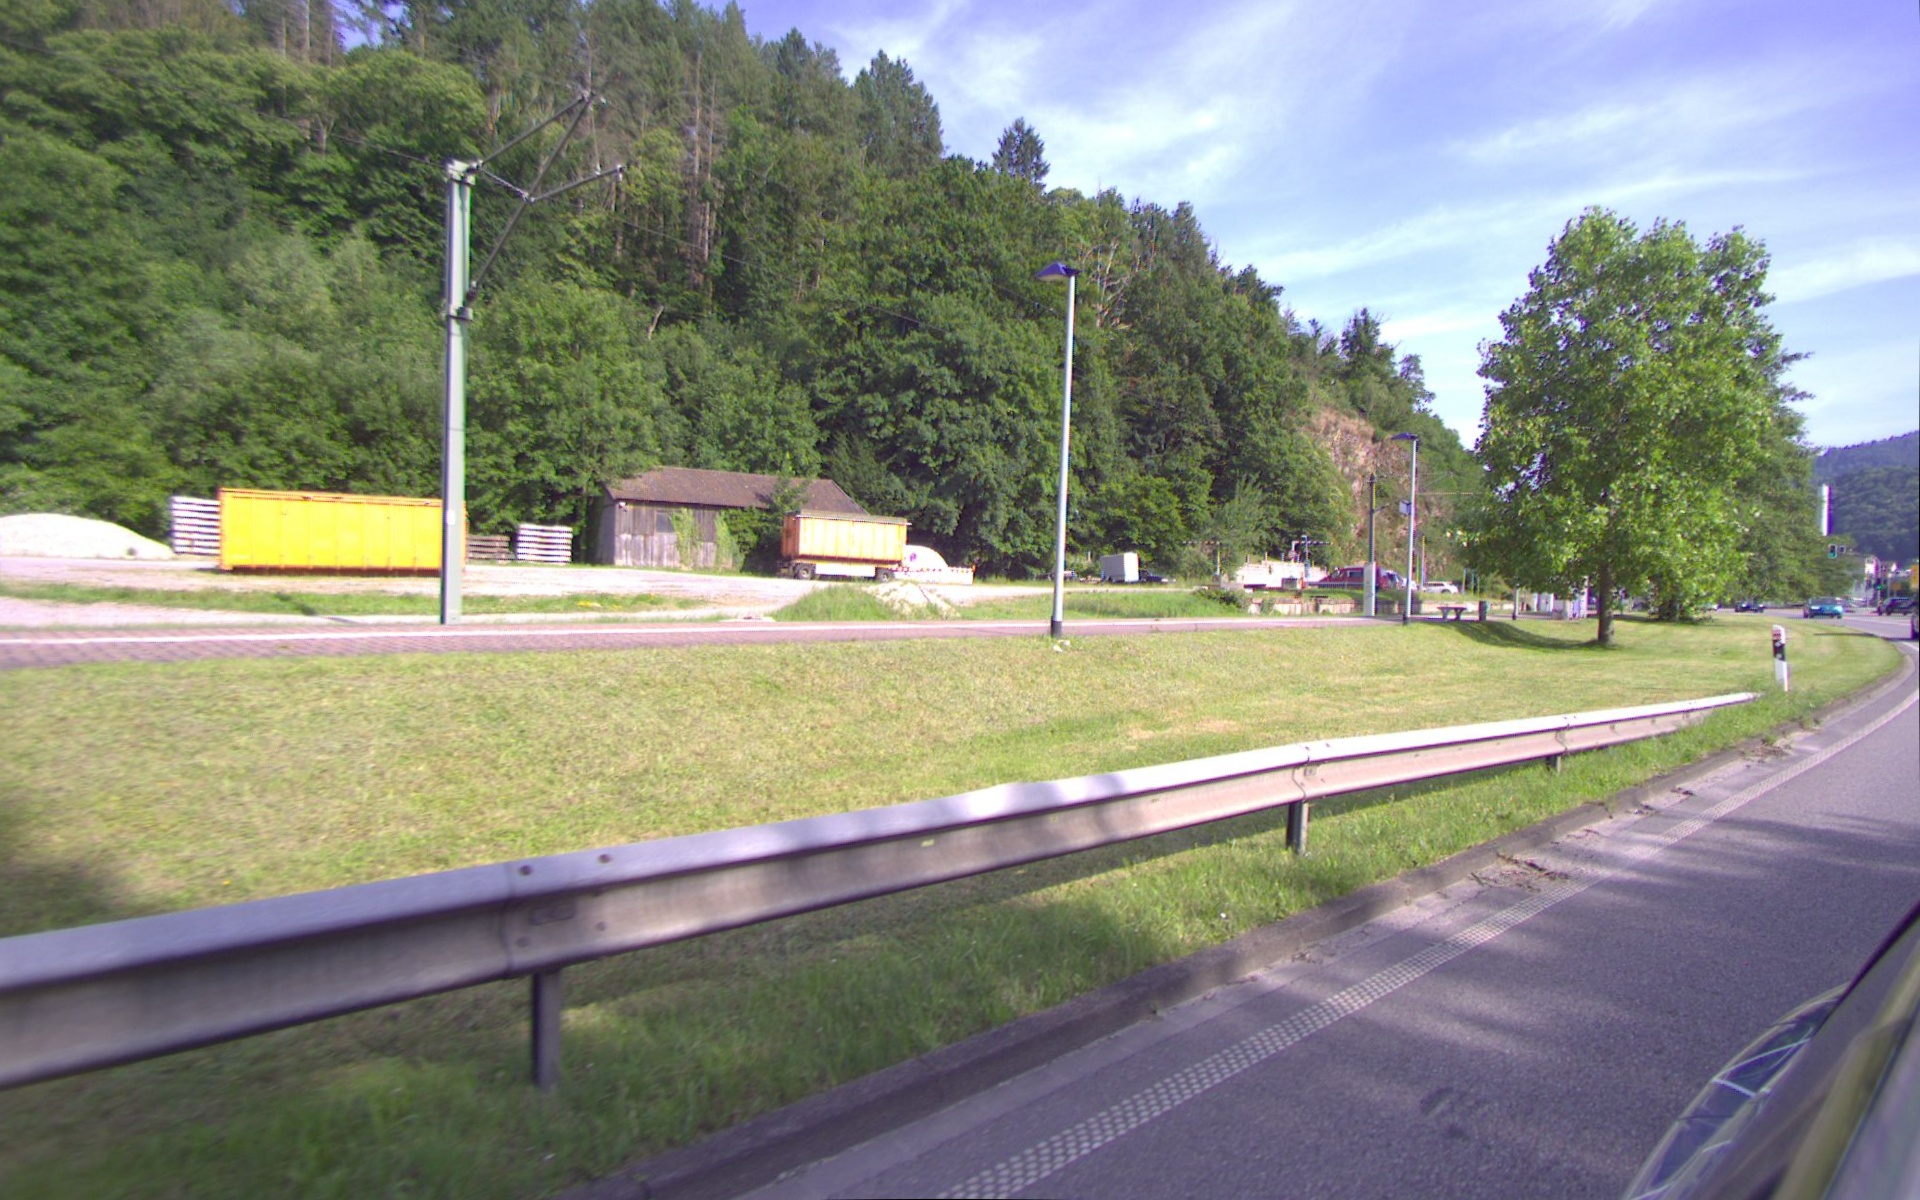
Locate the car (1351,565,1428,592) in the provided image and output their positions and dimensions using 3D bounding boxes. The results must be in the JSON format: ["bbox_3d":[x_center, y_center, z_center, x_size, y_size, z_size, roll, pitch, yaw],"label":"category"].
[{"bbox_3d":[32.109,-1.608,75.692,4.942,1.968,2.111,1,1,39],"label":"car"}]

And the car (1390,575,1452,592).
[{"bbox_3d":[37.594,-1.341,82.573,4.257,1.360,1.806,1,1,39],"label":"car"}]

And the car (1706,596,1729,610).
[{"bbox_3d":[89.857,0.355,120.146,1.864,1.478,3.686,3,2,33],"label":"car"}]

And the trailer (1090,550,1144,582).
[{"bbox_3d":[11.319,-2.469,73.145,1.783,2.216,3.707,0,2,-32],"label":"trailer"}]

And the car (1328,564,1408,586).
[{"bbox_3d":[28.976,-1.745,71.930,4.942,1.487,1.869,1,1,39],"label":"car"}]

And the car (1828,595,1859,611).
[{"bbox_3d":[88.256,0.287,101.152,1.668,1.478,4.154,0,0,32],"label":"car"}]

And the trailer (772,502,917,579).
[{"bbox_3d":[-6.345,-3.225,56.211,7.580,3.941,2.618,0,2,-32],"label":"trailer"}]

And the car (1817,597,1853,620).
[{"bbox_3d":[63.000,0.591,72.929,1.761,1.478,3.526,3,2,39],"label":"car"}]

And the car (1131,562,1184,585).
[{"bbox_3d":[14.079,-1.889,72.299,1.638,1.505,3.615,0,2,-34],"label":"car"}]

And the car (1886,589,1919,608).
[{"bbox_3d":[77.754,-0.137,83.022,1.843,1.488,4.488,-1,0,33],"label":"car"}]

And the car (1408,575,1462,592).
[{"bbox_3d":[42.024,-1.462,89.583,4.089,1.415,1.784,1,1,39],"label":"car"}]

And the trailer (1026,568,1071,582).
[{"bbox_3d":[6.235,-1.757,71.557,1.703,0.926,3.074,0,2,-32],"label":"trailer"}]

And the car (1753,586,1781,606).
[{"bbox_3d":[79.701,-0.416,99.993,1.989,1.816,3.947,3,2,37],"label":"car"}]

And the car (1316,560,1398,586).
[{"bbox_3d":[27.353,-1.861,69.868,4.942,1.712,1.909,1,1,39],"label":"car"}]

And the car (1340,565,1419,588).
[{"bbox_3d":[30.603,-1.696,73.867,4.942,1.607,2.111,1,1,39],"label":"car"}]
